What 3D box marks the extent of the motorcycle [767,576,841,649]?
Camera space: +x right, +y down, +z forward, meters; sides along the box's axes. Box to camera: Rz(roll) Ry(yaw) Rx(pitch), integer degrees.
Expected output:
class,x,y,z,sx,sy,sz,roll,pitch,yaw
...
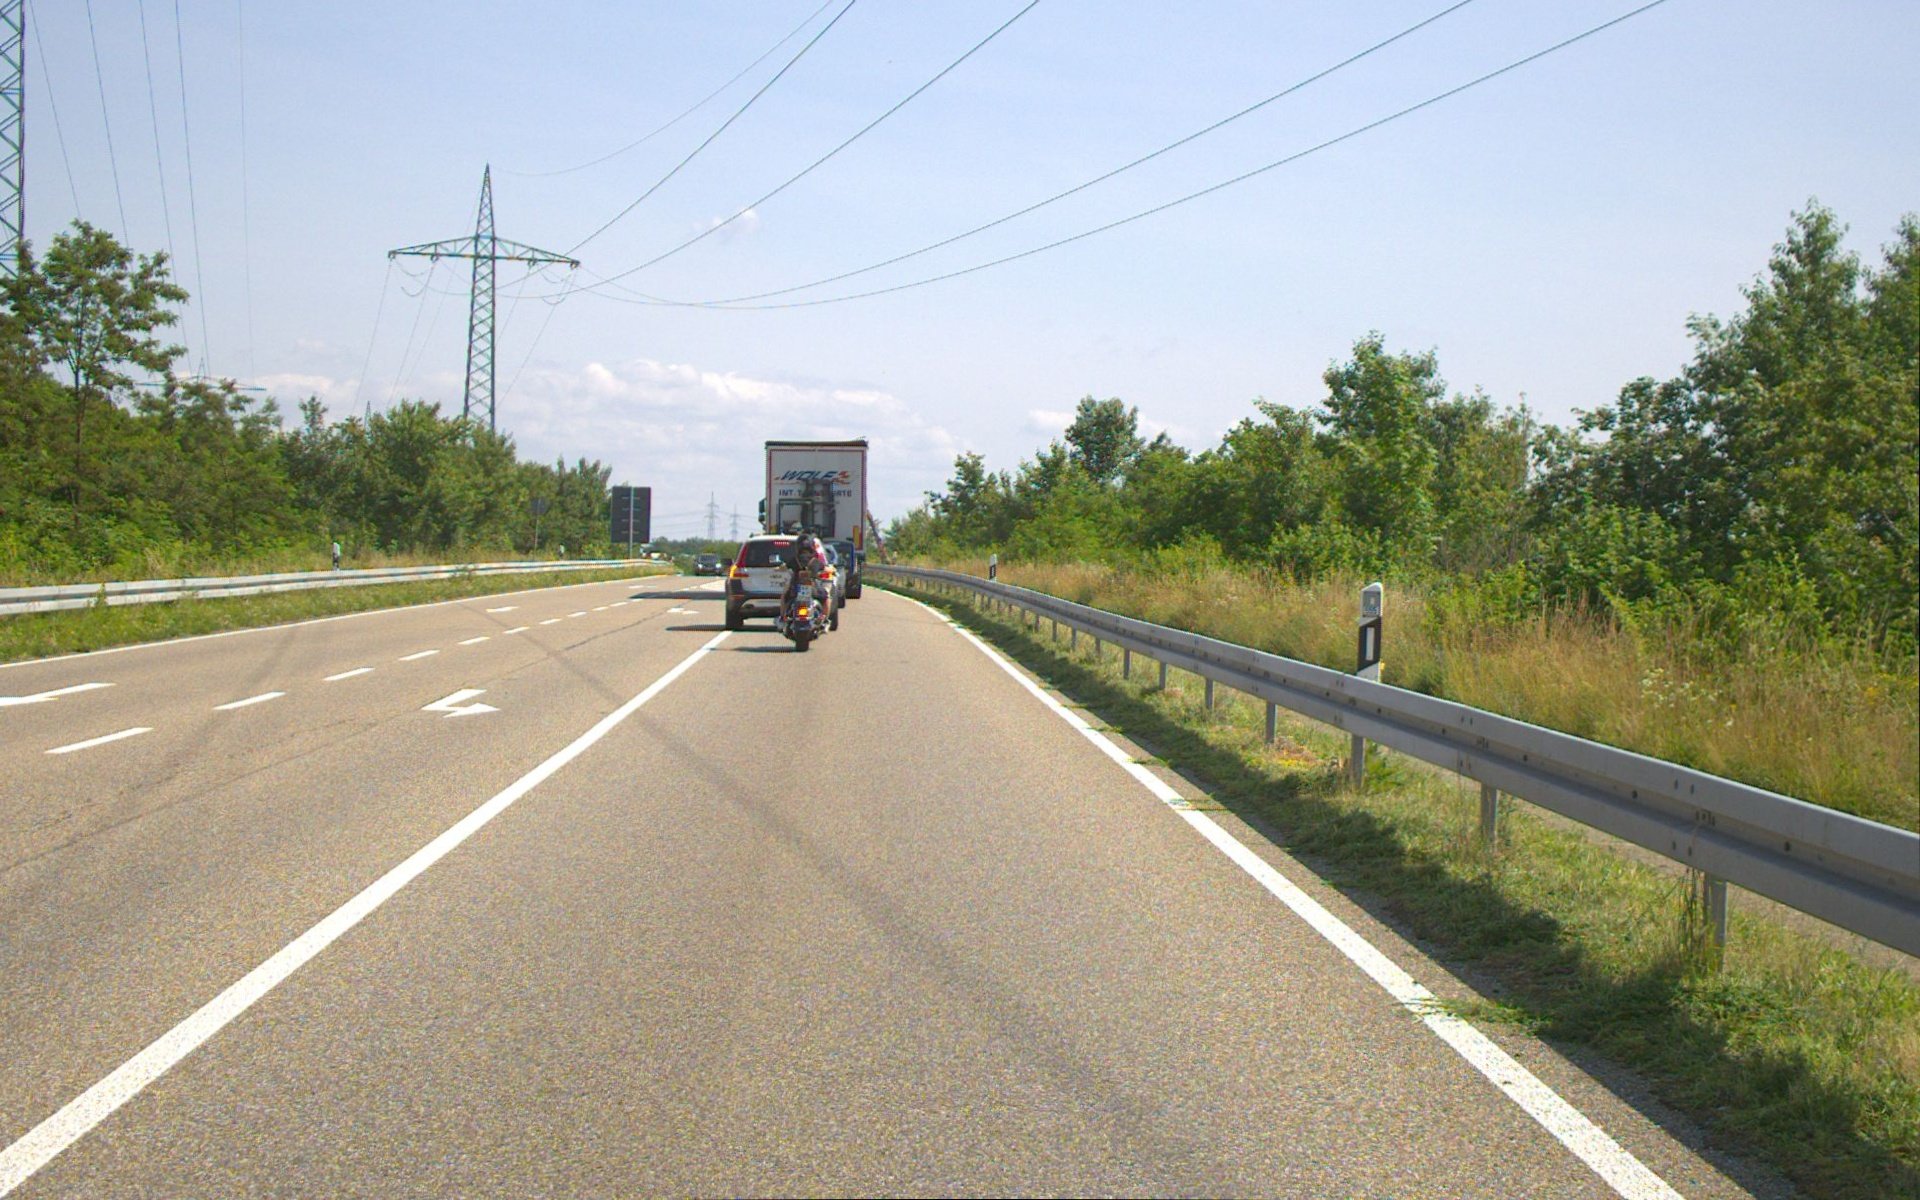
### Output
class,x,y,z,sx,sy,sz,roll,pitch,yaw
motorcycle,-2.097,0.156,45.929,0.858,0.912,2.228,1,1,-5

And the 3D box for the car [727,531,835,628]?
class,x,y,z,sx,sy,sz,roll,pitch,yaw
car,-2.956,-0.360,56.686,1.701,1.531,3.499,1,1,-3

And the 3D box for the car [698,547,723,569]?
class,x,y,z,sx,sy,sz,roll,pitch,yaw
car,-17.673,-2.960,243.406,1.727,1.486,4.423,1,1,-3

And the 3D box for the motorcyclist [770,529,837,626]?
class,x,y,z,sx,sy,sz,roll,pitch,yaw
motorcyclist,-2.093,-0.301,45.967,0.837,1.276,0.919,1,1,-5

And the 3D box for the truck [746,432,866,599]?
class,x,y,z,sx,sy,sz,roll,pitch,yaw
truck,-4.163,-2.266,94.240,2.967,4.172,14.823,1,1,-2
